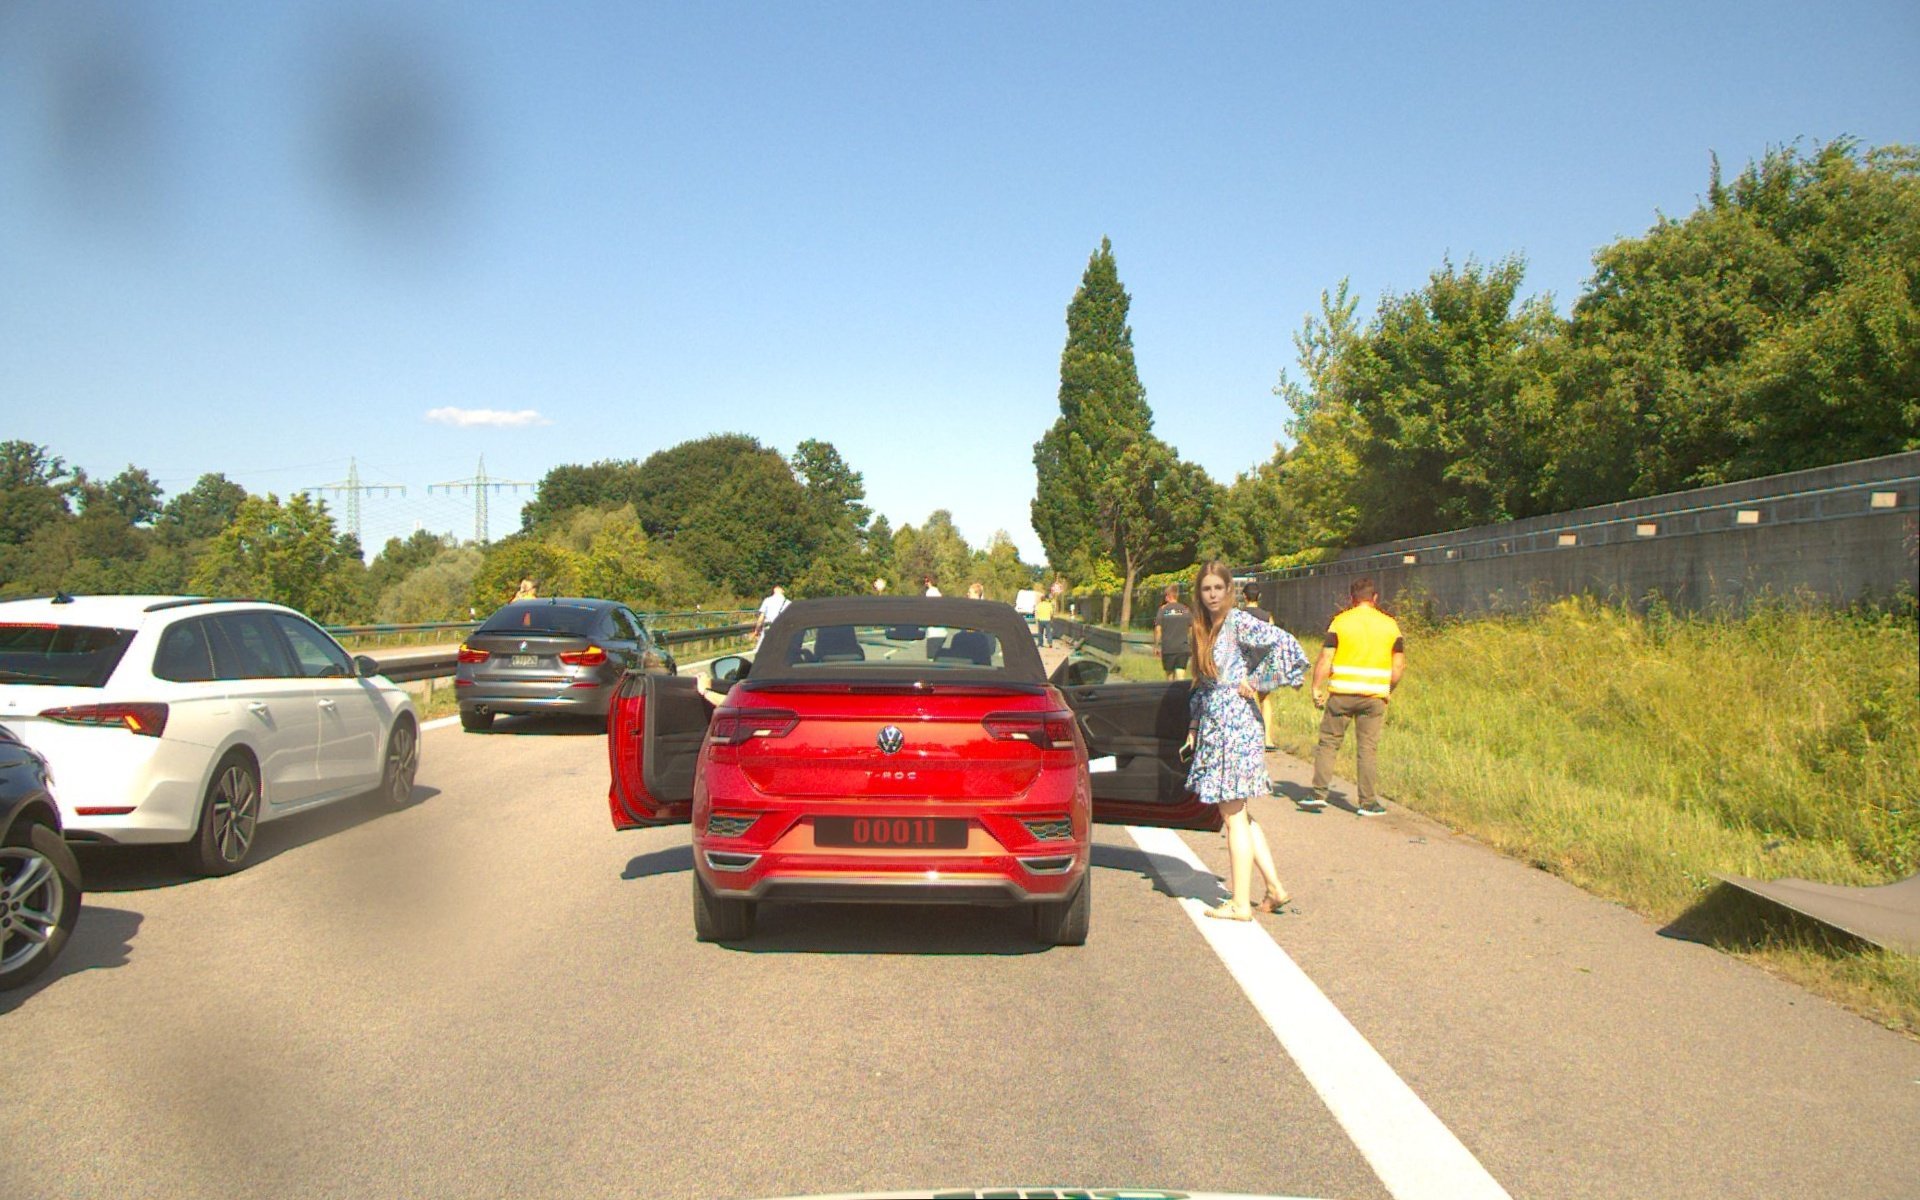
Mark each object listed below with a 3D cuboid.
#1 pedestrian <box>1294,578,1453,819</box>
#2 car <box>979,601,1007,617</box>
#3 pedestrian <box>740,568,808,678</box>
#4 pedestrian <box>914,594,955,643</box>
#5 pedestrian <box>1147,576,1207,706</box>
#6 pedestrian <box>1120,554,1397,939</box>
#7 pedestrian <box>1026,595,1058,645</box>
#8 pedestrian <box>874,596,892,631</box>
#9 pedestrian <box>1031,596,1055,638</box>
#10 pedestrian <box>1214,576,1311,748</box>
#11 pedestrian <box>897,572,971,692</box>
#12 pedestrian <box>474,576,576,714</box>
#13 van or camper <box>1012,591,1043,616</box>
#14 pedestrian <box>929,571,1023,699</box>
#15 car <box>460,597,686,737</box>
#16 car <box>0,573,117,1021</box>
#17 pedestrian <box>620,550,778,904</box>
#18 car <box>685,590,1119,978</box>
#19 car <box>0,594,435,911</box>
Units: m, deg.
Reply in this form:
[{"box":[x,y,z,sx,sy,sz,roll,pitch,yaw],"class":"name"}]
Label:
[{"box":[3.030,0.694,12.246,0.937,1.682,1.279,-1,0,5],"class":"pedestrian"},{"box":[3.276,0.875,162.056,1.696,1.513,4.213,1,0,16],"class":"car"},{"box":[-3.158,0.390,28.037,1.083,1.820,1.090,1,-1,-7],"class":"pedestrian"},{"box":[-0.926,0.669,59.701,1.097,1.719,0.968,0,-1,41],"class":"pedestrian"},{"box":[3.082,0.571,23.461,0.794,1.790,0.829,1,-1,9],"class":"pedestrian"},{"box":[1.403,0.659,7.960,1.103,1.725,0.892,-1,0,-5],"class":"pedestrian"},{"box":[2.856,0.693,57.436,1.033,1.719,1.018,1,-1,6],"class":"pedestrian"},{"box":[-3.875,0.671,83.363,0.775,1.719,0.792,1,-1,5],"class":"pedestrian"},{"box":[3.495,0.710,69.427,0.975,1.719,1.011,1,-1,3],"class":"pedestrian"},{"box":[3.169,0.638,17.396,0.876,1.755,0.754,1,-1,2],"class":"pedestrian"},{"box":[-0.444,0.521,27.632,1.085,1.946,1.255,-1,0,-8],"class":"pedestrian"},{"box":[-5.818,0.587,22.199,1.019,1.794,1.119,-1,0,2],"class":"pedestrian"},{"box":[6.593,0.328,160.658,1.951,2.356,4.473,1,-1,16],"class":"van or camper"},{"box":[0.248,0.528,25.571,1.045,1.916,1.091,-1,0,31],"class":"pedestrian"},{"box":[-4.449,0.708,19.645,1.660,1.451,4.333,1,0,0],"class":"car"},{"box":[-3.964,0.676,4.329,1.754,1.519,4.484,-1,0,-8],"class":"car"},{"box":[-1.317,0.614,8.492,0.727,1.712,0.841,-1,0,-5],"class":"pedestrian"},{"box":[-0.237,0.727,8.656,1.697,1.513,4.210,1,0,0],"class":"car"},{"box":[-4.631,0.709,9.849,1.660,1.467,4.210,1,0,0],"class":"car"}]
